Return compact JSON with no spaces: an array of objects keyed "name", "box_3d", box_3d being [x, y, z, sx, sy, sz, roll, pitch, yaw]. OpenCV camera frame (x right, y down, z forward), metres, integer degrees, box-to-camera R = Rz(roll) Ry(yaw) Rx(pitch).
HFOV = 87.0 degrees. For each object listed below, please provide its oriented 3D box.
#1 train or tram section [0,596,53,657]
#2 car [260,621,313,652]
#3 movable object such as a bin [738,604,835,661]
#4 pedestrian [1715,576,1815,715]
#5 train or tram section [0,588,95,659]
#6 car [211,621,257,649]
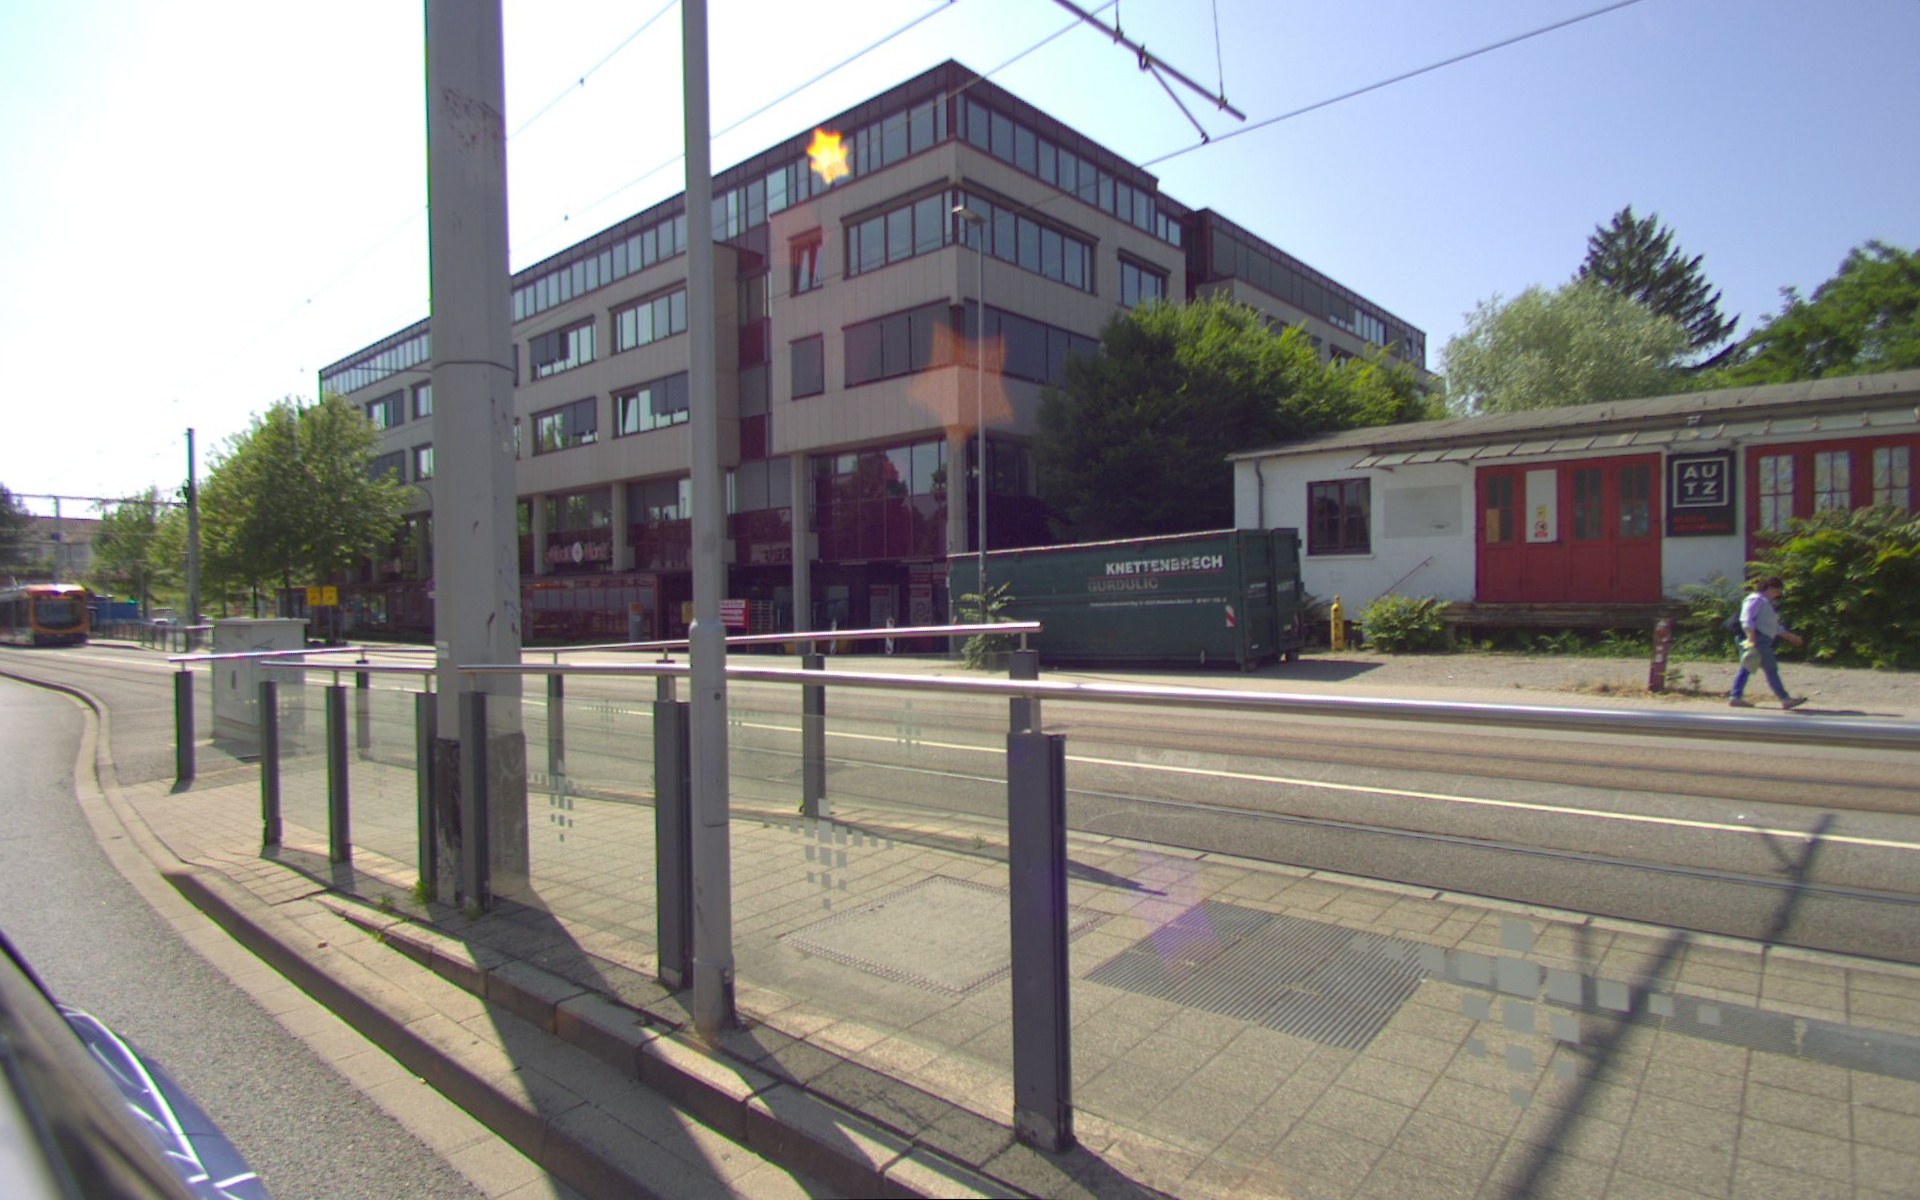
[{"name":"train or tram section","box_3d":[-59.762,1.699,63.427,13.381,3.511,2.646,-2,-1,41]},{"name":"car","box_3d":[-38.265,2.046,57.437,1.969,1.635,4.005,-1,0,-42]},{"name":"movable object such as a bin","box_3d":[-6.549,1.220,38.274,3.157,2.029,1.734,-2,0,21]},{"name":"pedestrian","box_3d":[9.380,0.507,11.796,0.845,1.538,0.862,-2,-1,40]},{"name":"train or tram section","box_3d":[-50.042,1.286,55.073,12.320,3.511,2.646,-2,0,41]},{"name":"car","box_3d":[-44.384,2.109,61.838,1.844,1.630,4.005,-1,0,-42]}]
